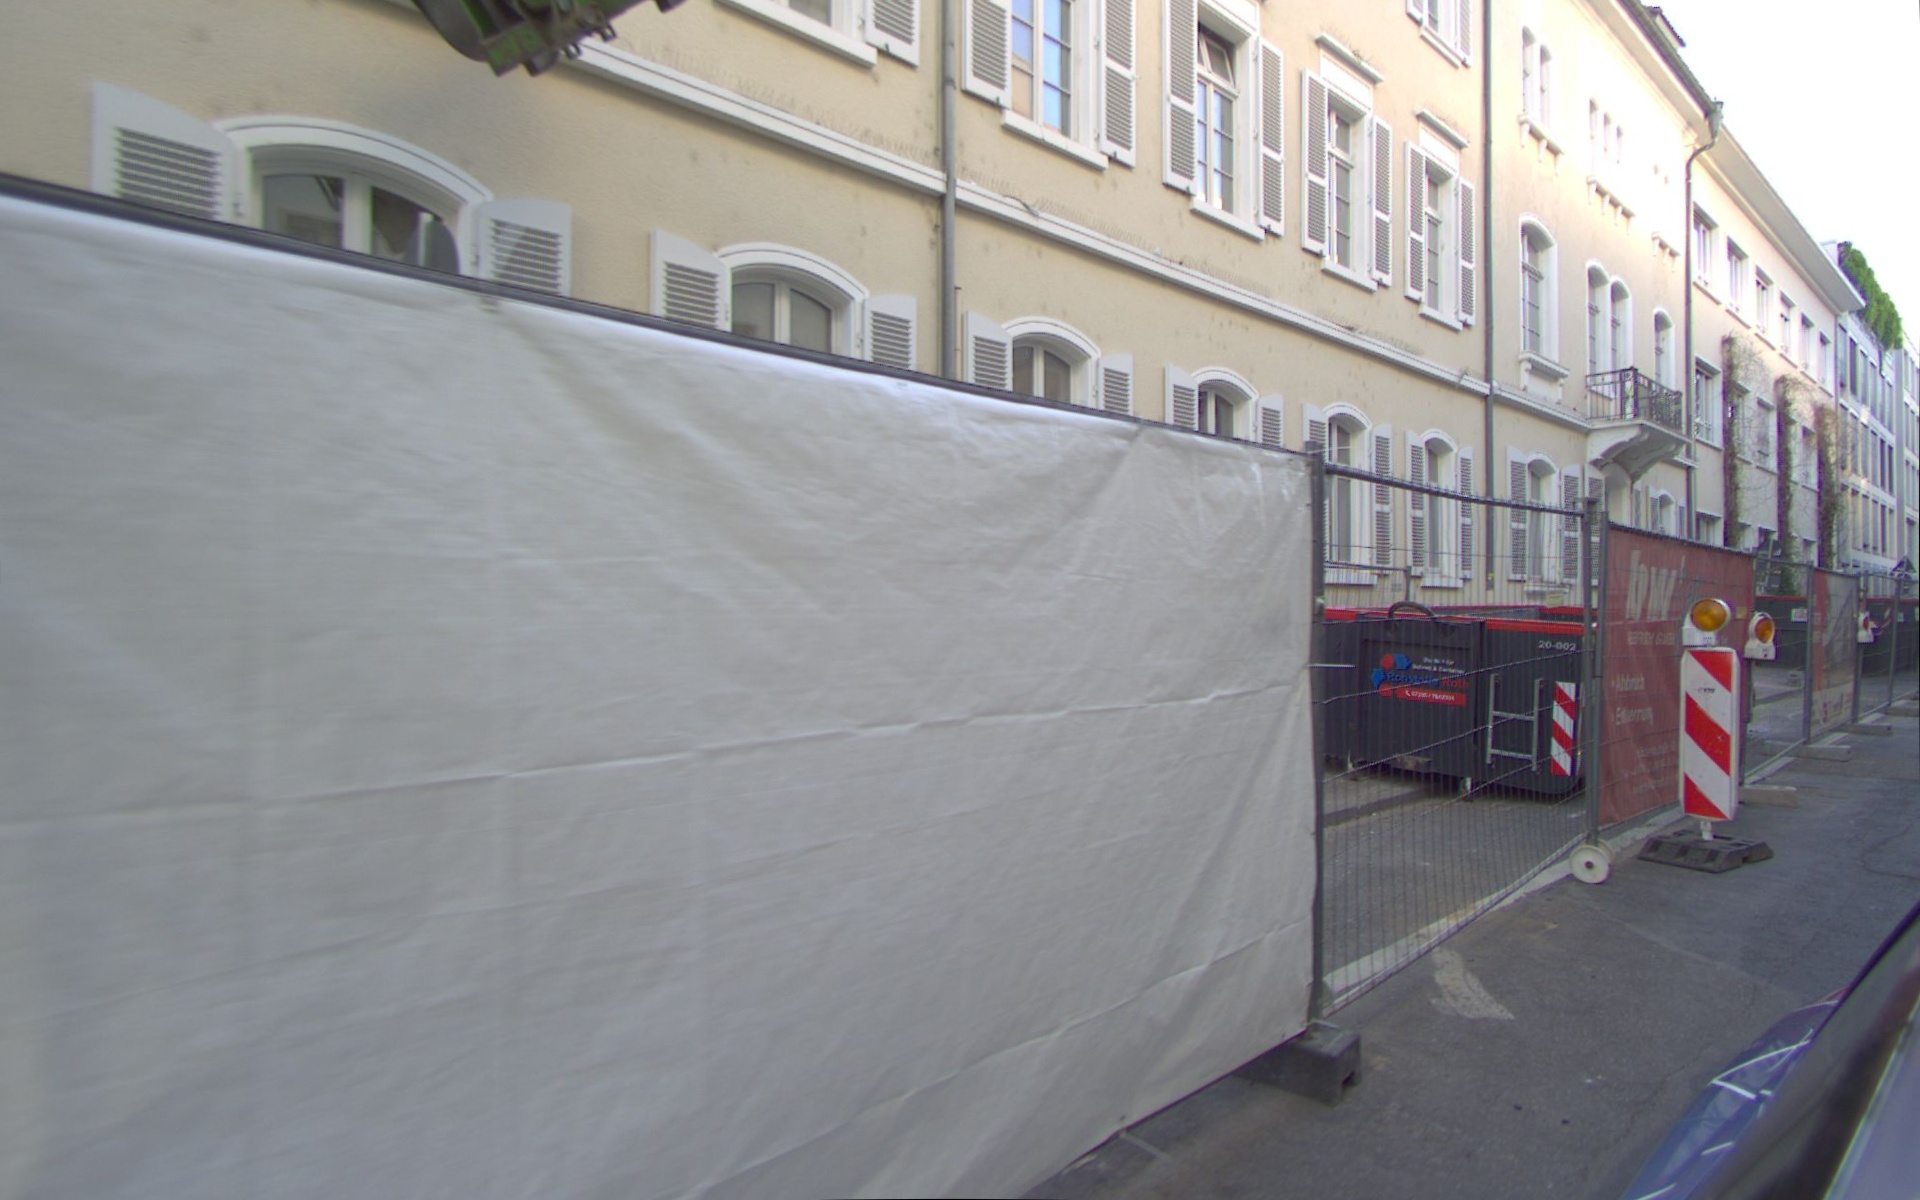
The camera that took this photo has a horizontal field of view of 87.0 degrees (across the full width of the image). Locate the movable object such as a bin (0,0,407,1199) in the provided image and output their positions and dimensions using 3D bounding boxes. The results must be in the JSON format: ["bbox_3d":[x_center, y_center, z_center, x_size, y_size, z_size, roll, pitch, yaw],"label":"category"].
[{"bbox_3d":[-3.749,0.204,1.843,4.372,2.875,2.609,0,0,-41],"label":"movable object such as a bin"}]

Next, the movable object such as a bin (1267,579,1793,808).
[{"bbox_3d":[6.503,0.690,10.872,7.423,1.659,2.739,0,-1,-42],"label":"movable object such as a bin"}]
